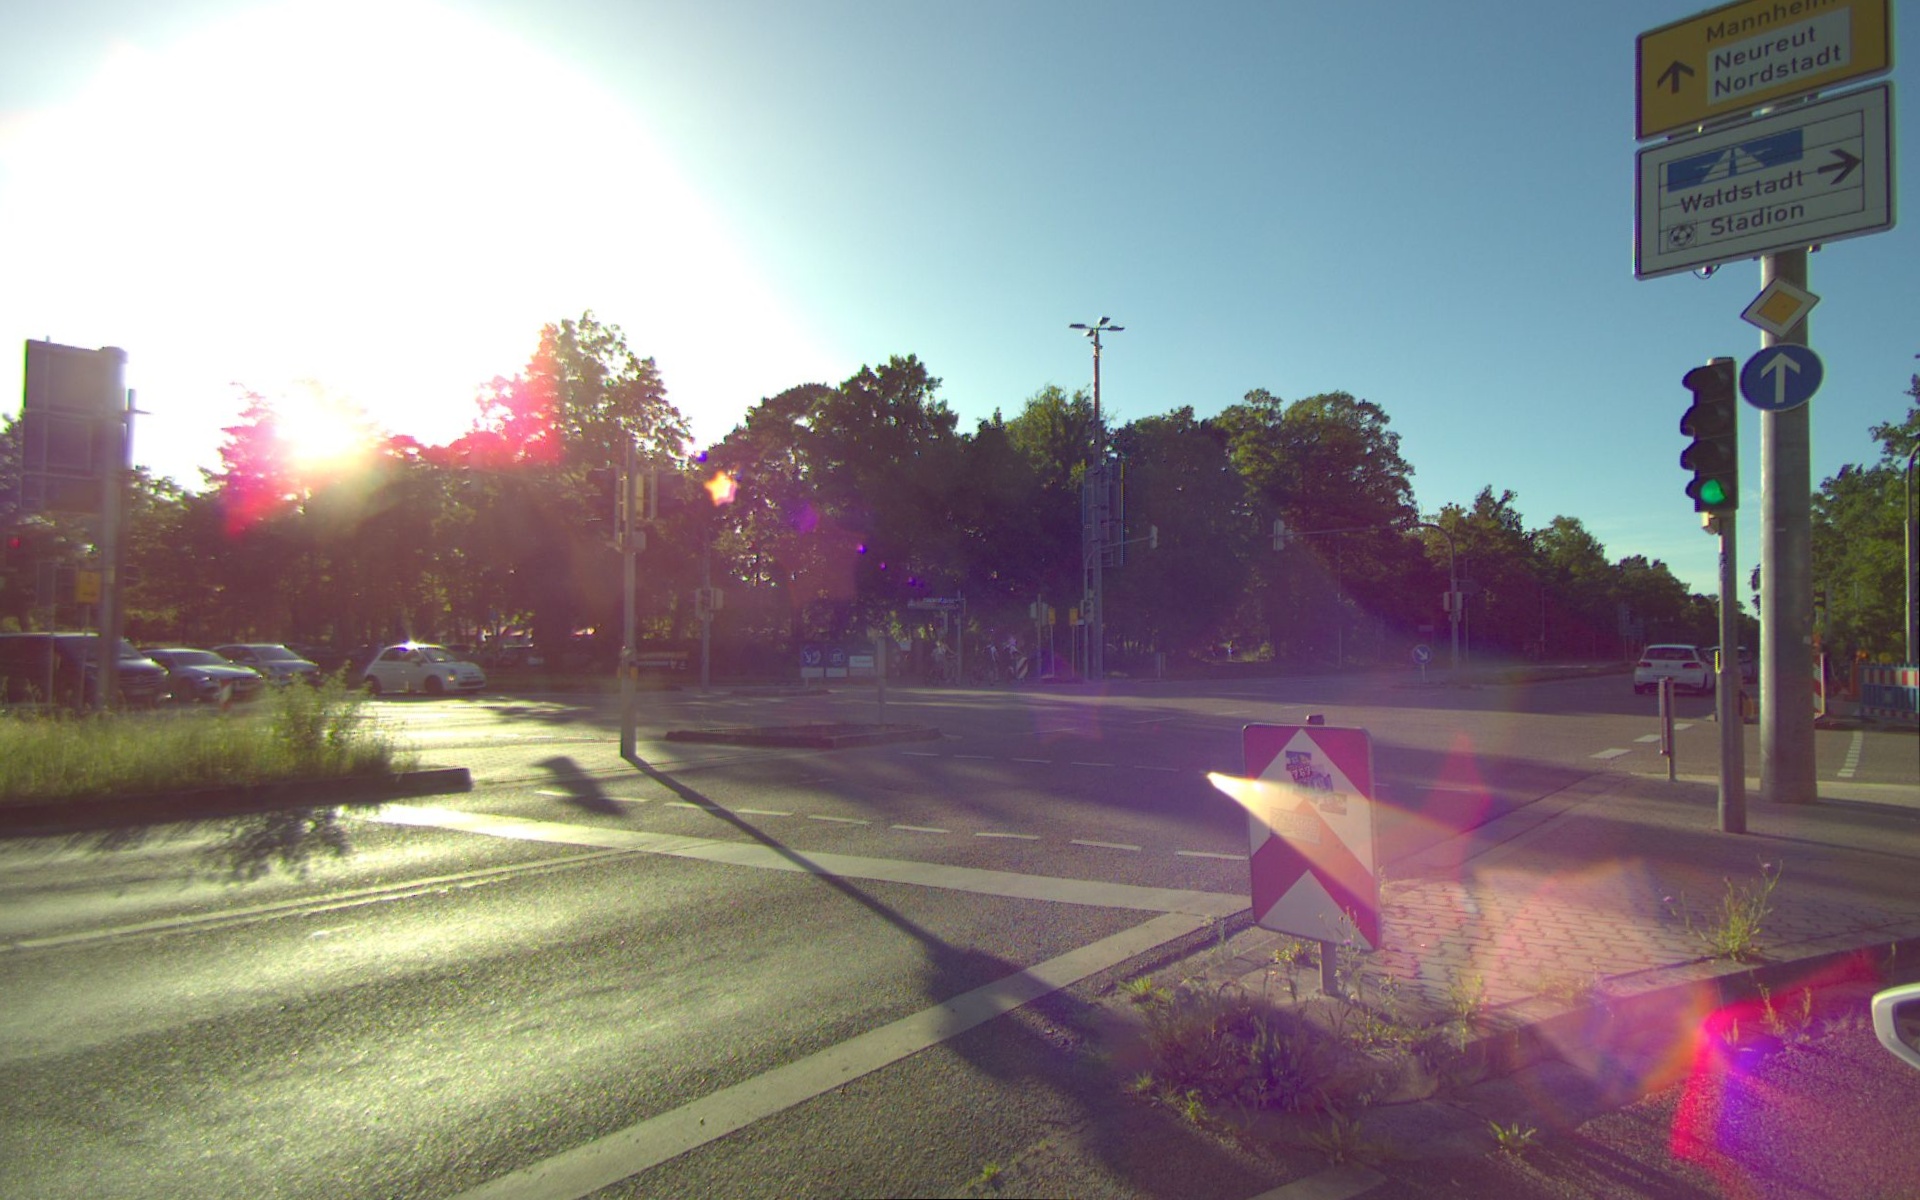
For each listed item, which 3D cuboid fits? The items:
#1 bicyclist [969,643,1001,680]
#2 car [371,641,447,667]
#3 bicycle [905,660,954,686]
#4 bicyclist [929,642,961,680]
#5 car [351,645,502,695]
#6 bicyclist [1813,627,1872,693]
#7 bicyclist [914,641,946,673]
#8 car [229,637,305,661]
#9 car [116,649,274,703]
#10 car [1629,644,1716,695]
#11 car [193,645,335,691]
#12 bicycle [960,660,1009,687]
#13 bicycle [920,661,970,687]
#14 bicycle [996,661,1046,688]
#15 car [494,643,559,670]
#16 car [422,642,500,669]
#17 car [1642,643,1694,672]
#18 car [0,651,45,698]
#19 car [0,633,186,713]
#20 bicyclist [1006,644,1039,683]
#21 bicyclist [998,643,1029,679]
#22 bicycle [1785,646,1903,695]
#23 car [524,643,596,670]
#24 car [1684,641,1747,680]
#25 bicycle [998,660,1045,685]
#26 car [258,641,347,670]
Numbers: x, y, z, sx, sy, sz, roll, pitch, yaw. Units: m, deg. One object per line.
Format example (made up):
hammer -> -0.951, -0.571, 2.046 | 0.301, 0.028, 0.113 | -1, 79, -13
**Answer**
bicyclist -> 0.915, 2.272, 37.320 | 0.984, 1.373, 0.708 | 2, -3, -44
car -> -35.494, 3.463, 64.803 | 1.782, 1.620, 3.964 | -1, -3, 30
bicycle -> -1.136, 2.774, 38.241 | 1.898, 0.926, 0.708 | 1, -2, -44
bicyclist -> -0.567, 2.266, 37.555 | 0.984, 1.408, 0.704 | 2, -3, -44
car -> -15.932, 2.067, 30.054 | 3.724, 1.407, 1.929 | -1, -3, 18
bicyclist -> 27.023, 1.823, 30.773 | 0.995, 1.955, 0.969 | 1, -1, 11
bicyclist -> -1.135, 2.174, 38.264 | 0.984, 1.208, 0.708 | 2, -3, -44
car -> -47.824, 3.350, 69.398 | 1.782, 1.620, 3.964 | -1, -3, 30
car -> -21.324, 2.080, 28.025 | 3.724, 1.407, 1.649 | -1, -3, 18
car -> 21.765, 2.058, 30.607 | 1.917, 1.433, 3.983 | -2, -3, 39
car -> -22.313, 2.153, 32.246 | 3.724, 1.407, 1.855 | -1, -3, 18
bicycle -> 0.915, 2.712, 37.309 | 1.898, 0.926, 0.708 | 3, -3, -44
bicycle -> -0.542, 2.755, 37.559 | 1.898, 0.926, 0.708 | 3, -3, -44
bicycle -> 2.201, 2.654, 35.960 | 1.898, 0.926, 0.708 | 3, -3, -44
car -> -27.153, 3.497, 63.035 | 1.779, 1.620, 3.502 | -1, -2, 21
car -> -31.912, 3.539, 64.337 | 1.782, 1.620, 4.143 | -1, -3, 30
car -> 38.409, 3.113, 54.448 | 1.843, 1.463, 3.978 | -1, -3, 43
car -> -30.627, 2.276, 31.033 | 3.724, 1.407, 1.855 | -1, -3, 18
car -> -21.947, 1.754, 24.903 | 4.835, 1.853, 1.929 | -1, -2, 18
bicyclist -> 2.247, 2.258, 36.013 | 0.984, 1.356, 0.708 | 2, -3, -44
bicyclist -> 2.050, 2.318, 38.486 | 0.984, 1.359, 0.708 | 2, -3, -44
bicycle -> 27.030, 2.141, 30.757 | 2.586, 1.401, 0.969 | 1, -1, 11
car -> -24.739, 3.484, 62.289 | 1.778, 1.620, 4.197 | -1, -2, 20
car -> 32.036, 2.540, 42.559 | 1.969, 1.556, 3.983 | -2, -3, 39
bicycle -> 2.375, 2.779, 38.787 | 1.898, 0.926, 0.708 | 3, -3, -44
car -> -38.967, 3.287, 59.624 | 1.907, 1.640, 3.996 | -1, -3, 27
